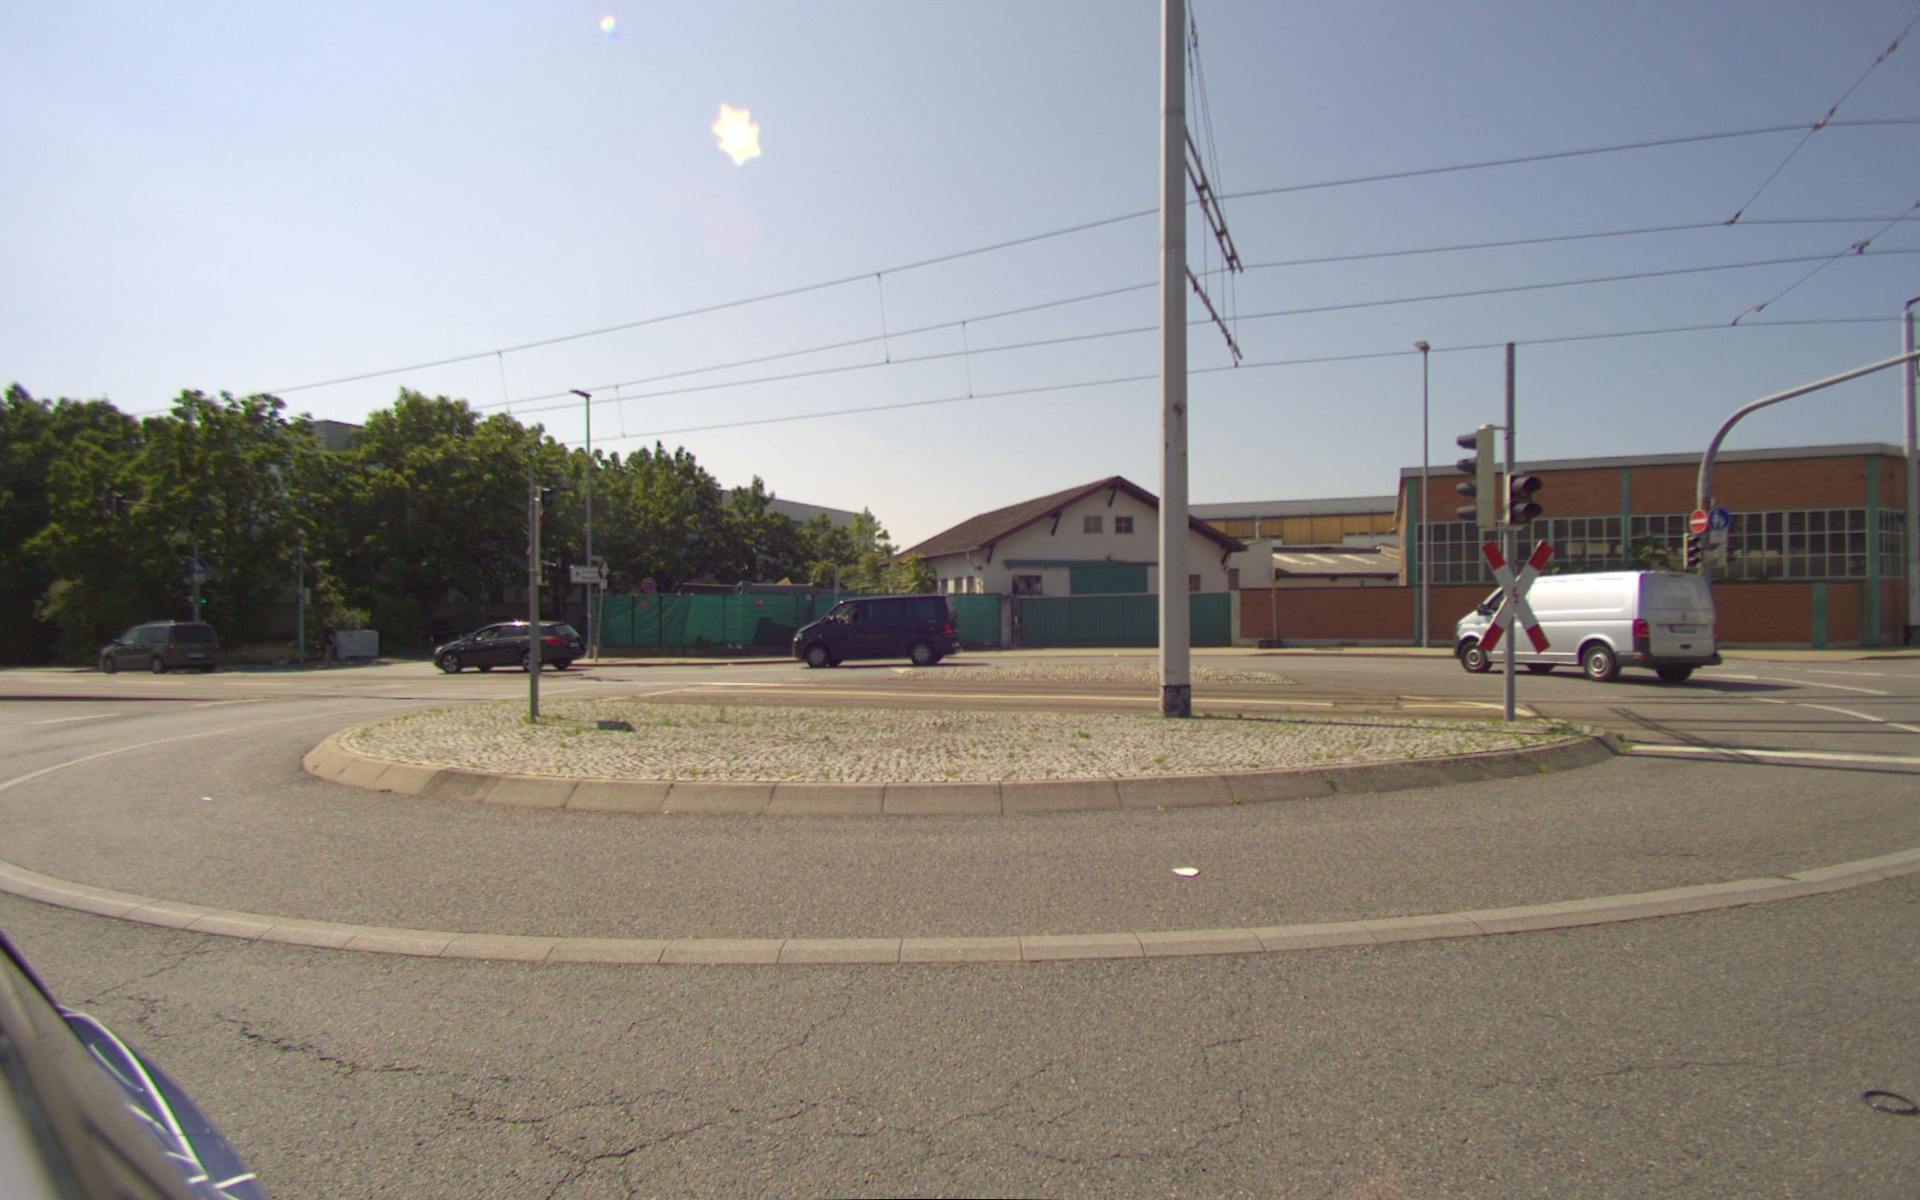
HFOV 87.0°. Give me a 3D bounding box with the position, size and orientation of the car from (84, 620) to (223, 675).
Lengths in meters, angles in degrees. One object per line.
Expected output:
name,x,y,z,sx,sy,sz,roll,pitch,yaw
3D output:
car,-28.448,1.659,35.696,4.380,1.832,1.975,-2,-1,23

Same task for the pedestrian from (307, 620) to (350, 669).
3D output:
pedestrian,-24.063,1.685,38.561,1.152,1.682,0.882,3,4,22

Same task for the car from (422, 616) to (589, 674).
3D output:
car,-13.717,1.344,30.725,4.186,1.568,1.968,-2,-2,3

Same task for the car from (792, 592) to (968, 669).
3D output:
car,-2.221,0.871,28.748,4.585,1.925,2.092,-2,-2,9

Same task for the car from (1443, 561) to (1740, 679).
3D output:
car,11.763,0.407,19.365,1.901,1.950,4.841,0,-2,-13
